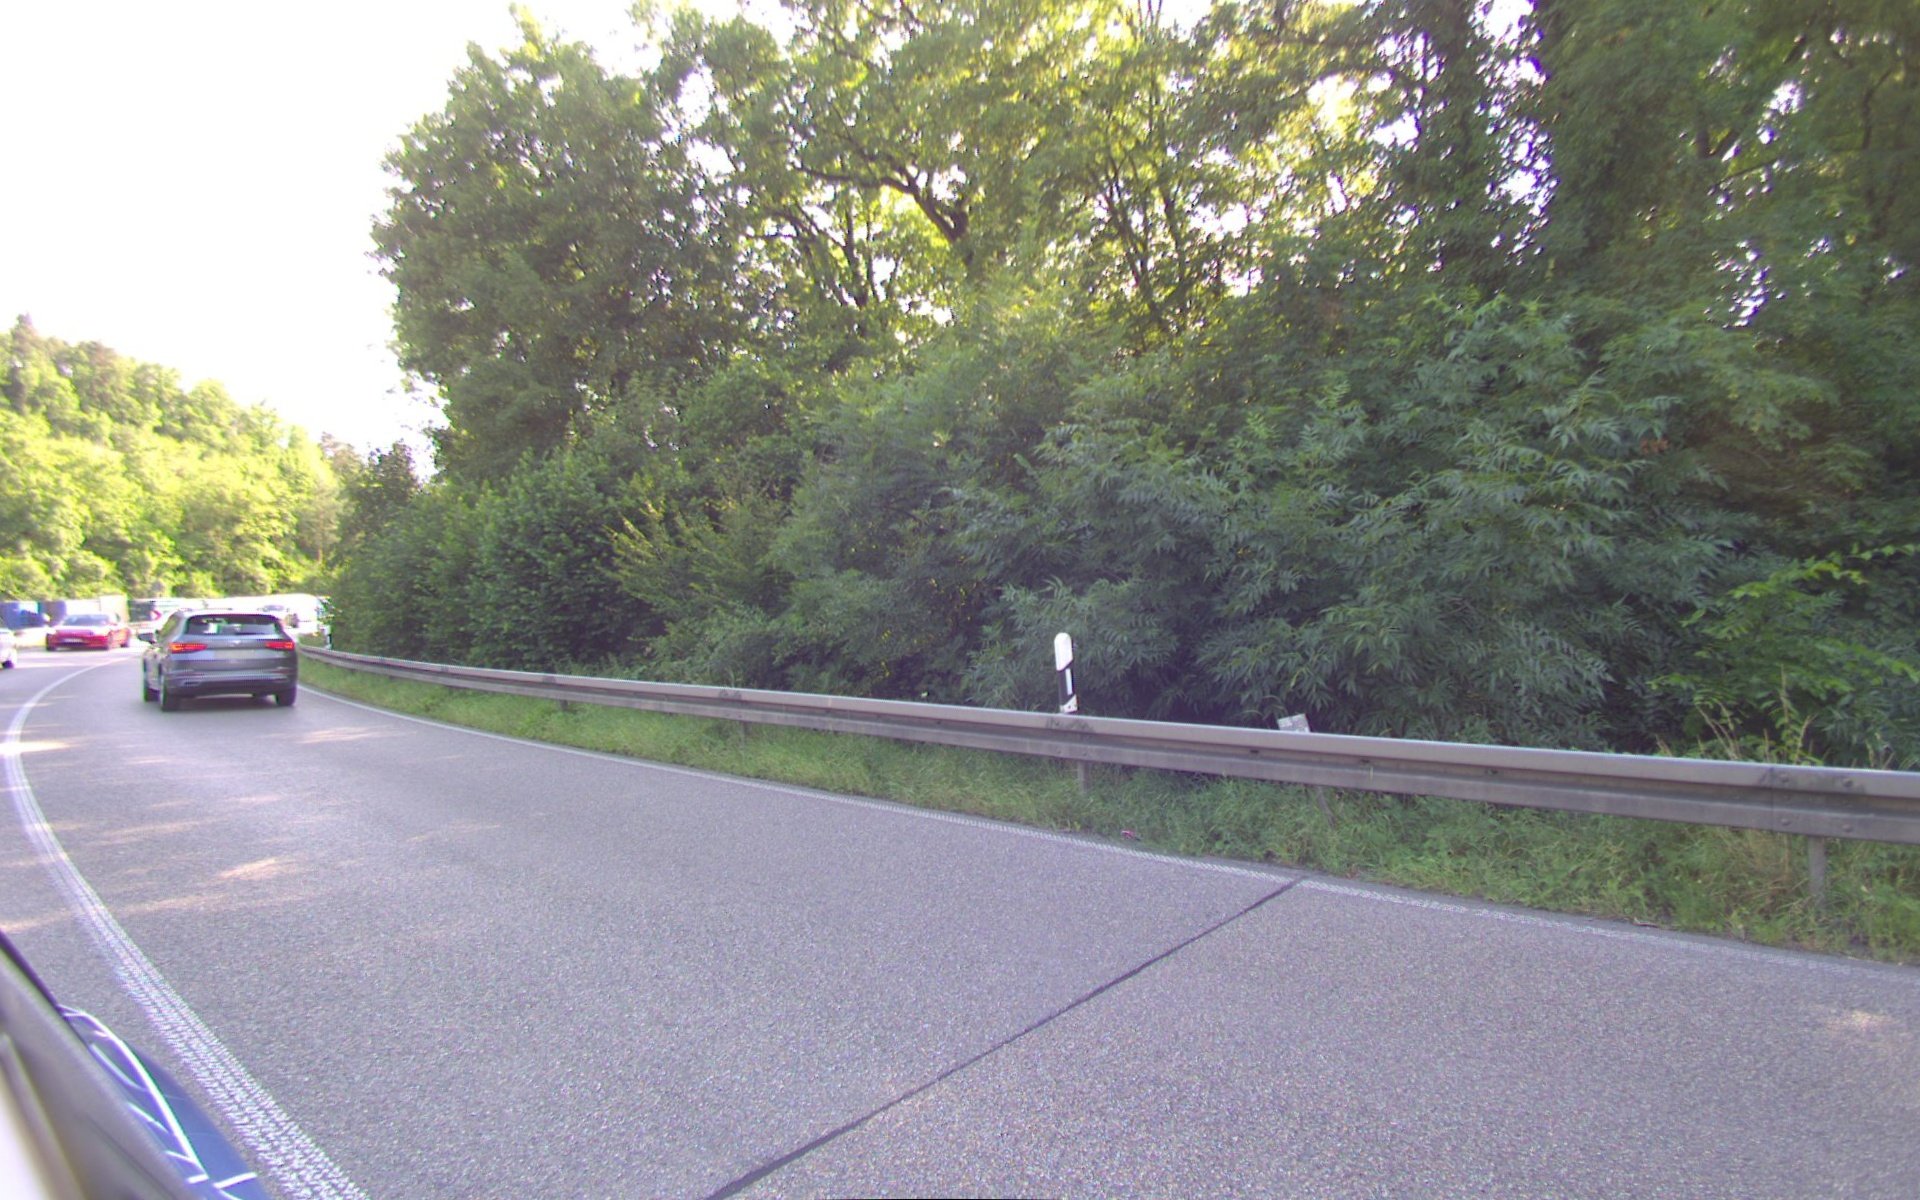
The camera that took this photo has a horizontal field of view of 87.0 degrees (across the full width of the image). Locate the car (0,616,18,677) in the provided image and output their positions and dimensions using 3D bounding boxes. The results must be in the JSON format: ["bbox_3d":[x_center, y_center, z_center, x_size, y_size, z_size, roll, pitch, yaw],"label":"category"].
[{"bbox_3d":[-24.950,1.181,25.238,1.868,1.456,4.483,-3,1,-40],"label":"car"}]

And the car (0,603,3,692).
[{"bbox_3d":[-18.109,0.927,17.543,1.839,1.733,4.772,0,0,-39],"label":"car"}]

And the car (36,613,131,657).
[{"bbox_3d":[-33.222,1.286,38.490,1.829,1.431,4.433,-3,1,-29],"label":"car"}]

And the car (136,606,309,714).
[{"bbox_3d":[-12.431,0.956,16.960,1.845,1.577,4.003,0,-2,-43],"label":"car"}]

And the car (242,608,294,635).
[{"bbox_3d":[-45.701,1.370,66.922,1.829,1.608,4.552,-3,1,-22],"label":"car"}]

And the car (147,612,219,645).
[{"bbox_3d":[-39.162,1.390,51.117,1.884,1.476,4.552,-3,1,-25],"label":"car"}]
